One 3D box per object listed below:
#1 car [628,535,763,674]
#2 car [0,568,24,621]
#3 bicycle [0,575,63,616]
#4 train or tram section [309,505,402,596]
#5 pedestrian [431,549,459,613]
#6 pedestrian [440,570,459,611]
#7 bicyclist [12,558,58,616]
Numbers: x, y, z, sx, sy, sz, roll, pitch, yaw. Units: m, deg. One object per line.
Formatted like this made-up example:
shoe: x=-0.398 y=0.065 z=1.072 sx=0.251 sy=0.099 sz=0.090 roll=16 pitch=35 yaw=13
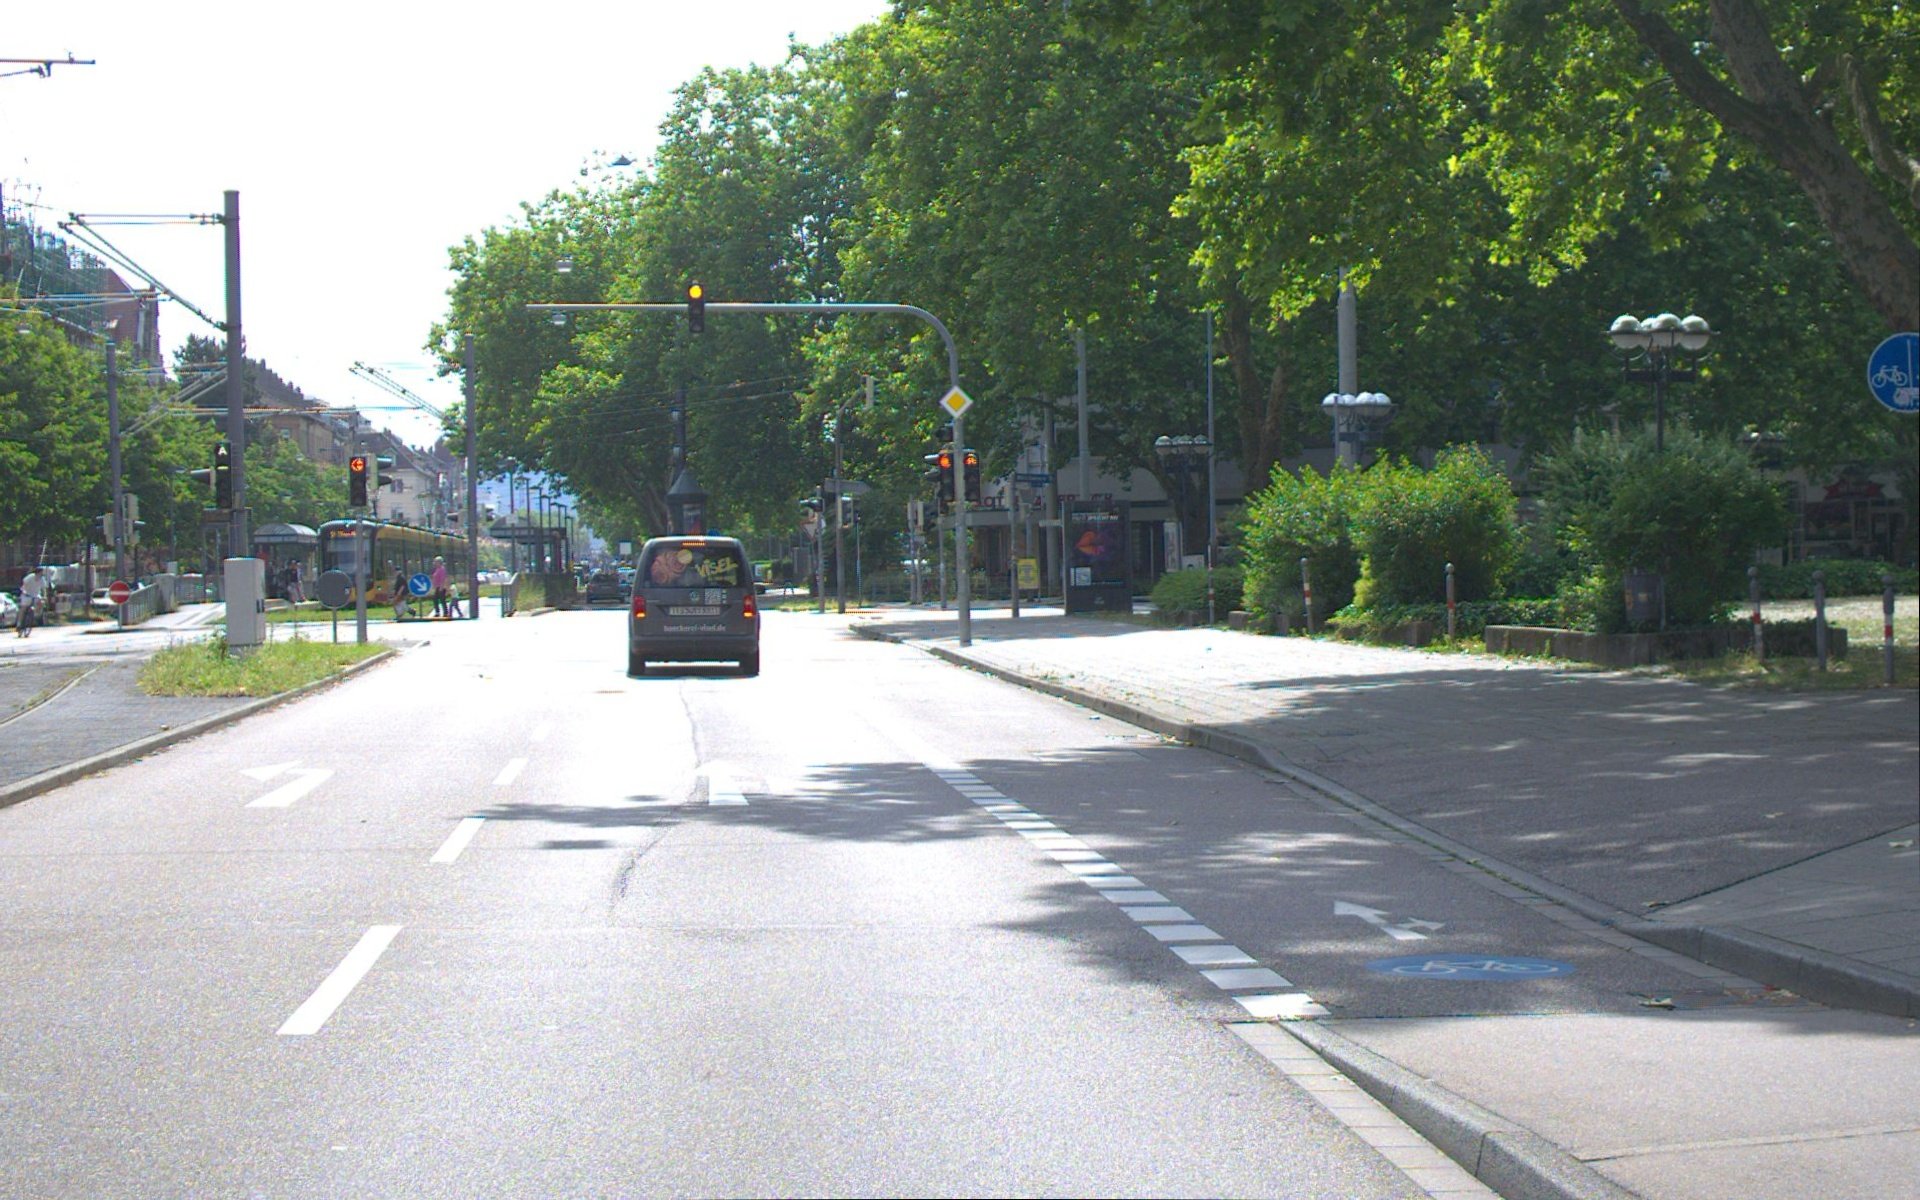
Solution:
car: x=-3.569 y=0.032 z=46.381 sx=1.750 sy=1.802 sz=3.475 roll=0 pitch=1 yaw=-5
car: x=-37.742 y=-0.207 z=133.336 sx=1.993 sy=2.007 sz=4.001 roll=-2 pitch=1 yaw=-5
bicycle: x=-24.815 y=-0.118 z=91.376 sx=0.894 sy=1.045 sz=2.308 roll=-2 pitch=1 yaw=-41
train or tram section: x=-23.491 y=-1.913 z=134.134 sx=2.240 sy=3.320 sz=12.973 roll=-2 pitch=1 yaw=-5
pedestrian: x=-14.306 y=-0.530 z=95.477 sx=0.659 sy=1.778 sz=0.660 roll=-2 pitch=1 yaw=-5
pedestrian: x=-14.288 y=-0.275 z=96.201 sx=0.463 sy=1.140 sz=0.435 roll=-2 pitch=1 yaw=-5
bicyclist: x=-24.638 y=-0.348 z=91.532 sx=0.778 sy=1.506 sz=1.000 roll=-2 pitch=1 yaw=-41
